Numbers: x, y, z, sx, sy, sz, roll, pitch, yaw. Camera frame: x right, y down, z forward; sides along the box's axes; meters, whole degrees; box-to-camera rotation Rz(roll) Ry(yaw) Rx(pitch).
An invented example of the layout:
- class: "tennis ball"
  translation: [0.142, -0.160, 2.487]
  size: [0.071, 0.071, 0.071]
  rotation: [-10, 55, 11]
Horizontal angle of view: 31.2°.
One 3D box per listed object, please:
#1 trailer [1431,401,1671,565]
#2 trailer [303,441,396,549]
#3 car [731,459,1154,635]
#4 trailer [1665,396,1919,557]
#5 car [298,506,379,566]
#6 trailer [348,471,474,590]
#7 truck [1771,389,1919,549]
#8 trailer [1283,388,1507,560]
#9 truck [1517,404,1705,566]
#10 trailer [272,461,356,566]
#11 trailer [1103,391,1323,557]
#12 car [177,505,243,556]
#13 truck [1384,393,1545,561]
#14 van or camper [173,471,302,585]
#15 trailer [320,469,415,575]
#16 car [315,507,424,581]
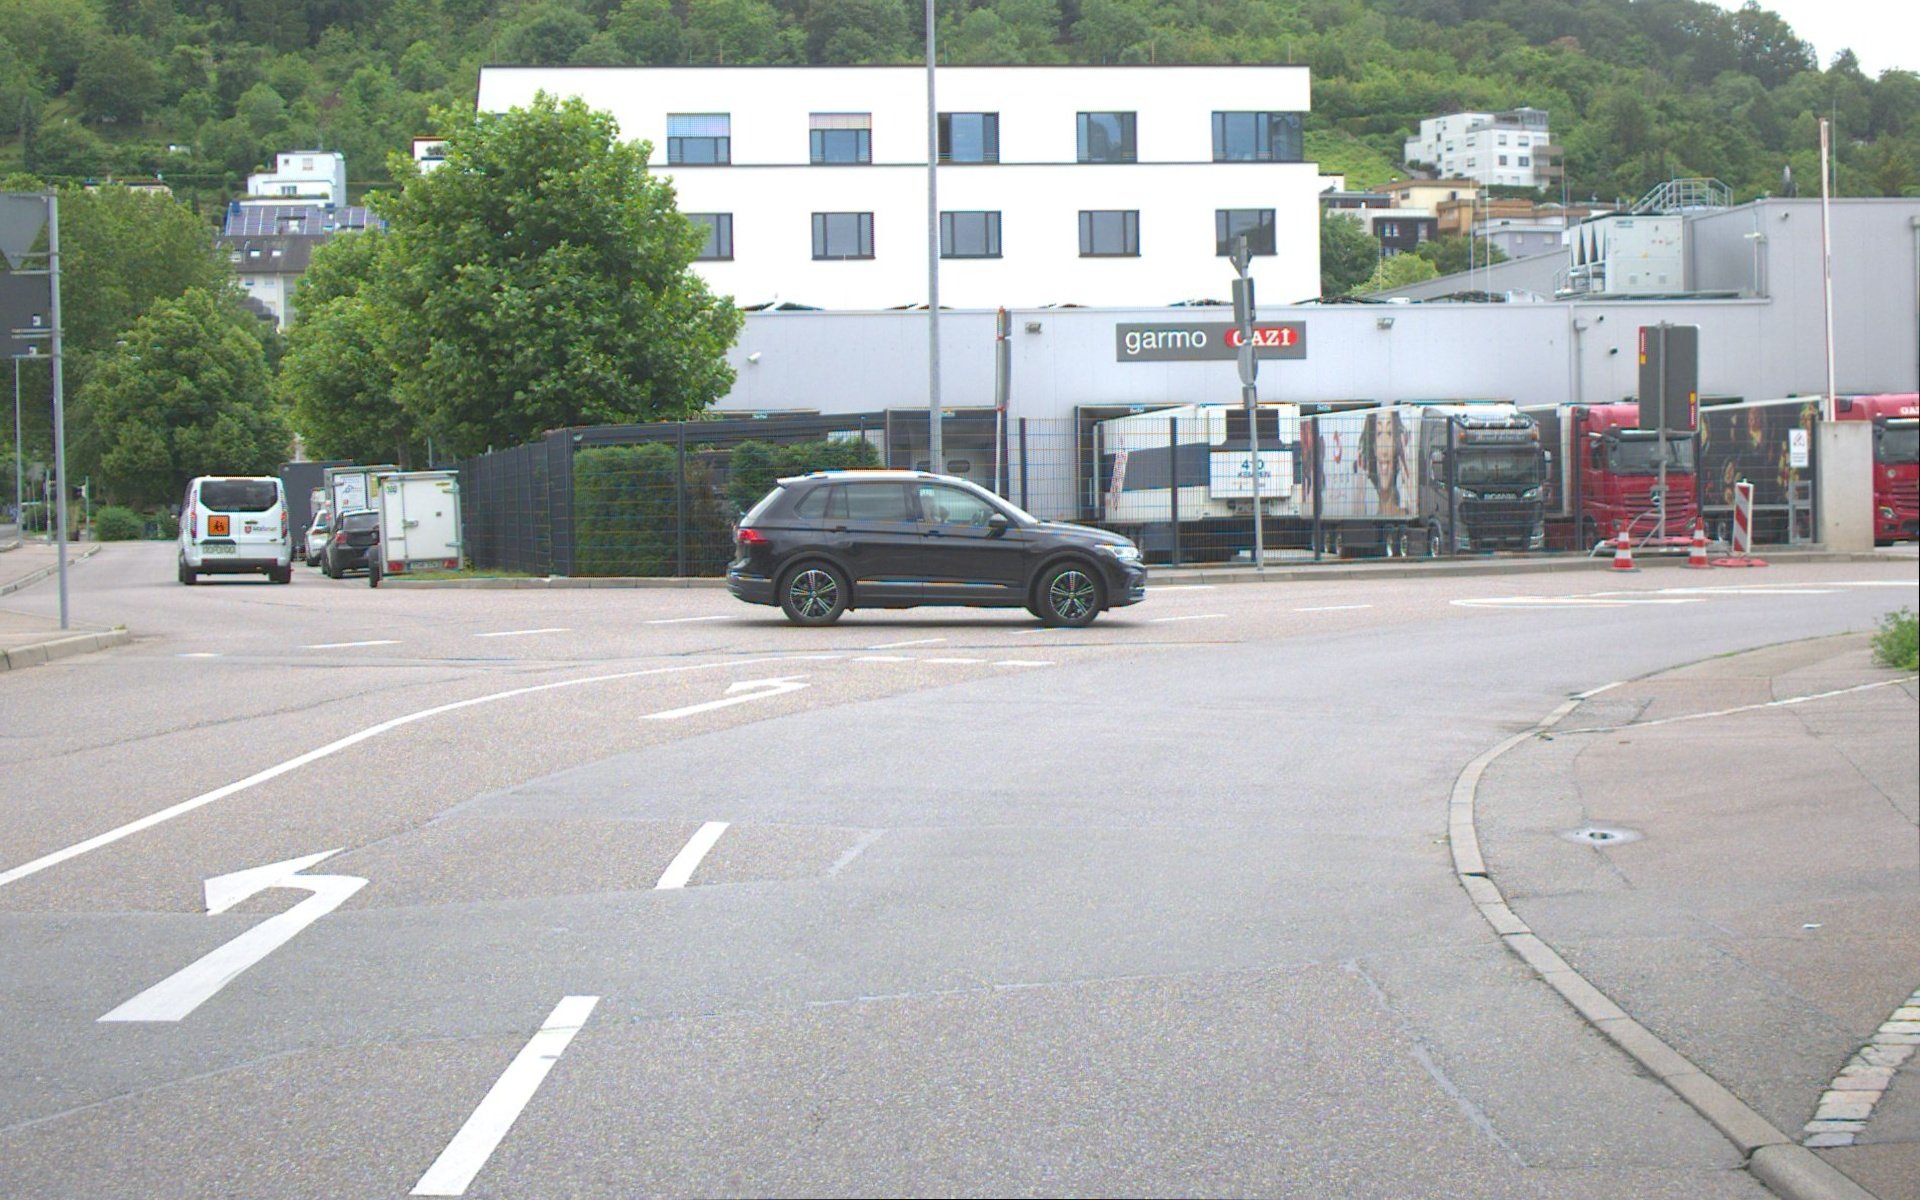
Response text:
- class: "trailer"
  translation: [15.476, -2.984, 91.045]
  size: [2.782, 4.064, 10.999]
  rotation: [-1, 1, -9]
- class: "trailer"
  translation: [-21.624, -3.712, 121.671]
  size: [3.067, 3.746, 4.935]
  rotation: [-1, 1, -12]
- class: "car"
  translation: [-0.222, -0.561, 36.808]
  size: [4.356, 1.678, 2.000]
  rotation: [2, 0, -2]
- class: "trailer"
  translation: [22.345, -3.205, 92.700]
  size: [2.782, 4.064, 10.999]
  rotation: [-1, 1, -9]
- class: "car"
  translation: [-16.046, -1.672, 88.772]
  size: [1.993, 1.503, 4.001]
  rotation: [0, 2, -10]
- class: "trailer"
  translation: [-9.679, -1.240, 60.402]
  size: [1.993, 2.007, 4.001]
  rotation: [-1, 1, -12]
- class: "truck"
  translation: [23.100, -3.262, 87.416]
  size: [2.792, 3.915, 5.927]
  rotation: [-1, 1, -9]
- class: "trailer"
  translation: [11.372, -3.216, 91.208]
  size: [2.782, 4.286, 11.185]
  rotation: [-1, 1, -9]
- class: "truck"
  translation: [16.277, -2.828, 86.332]
  size: [2.792, 3.915, 5.927]
  rotation: [-1, 1, -9]
- class: "trailer"
  translation: [-18.694, -2.505, 99.403]
  size: [2.278, 2.943, 4.001]
  rotation: [-1, 1, -12]
- class: "trailer"
  translation: [6.436, -3.157, 89.756]
  size: [3.080, 4.064, 11.413]
  rotation: [-1, 1, -9]
- class: "car"
  translation: [-25.832, -2.365, 118.518]
  size: [1.993, 1.678, 4.001]
  rotation: [-1, 1, -9]
- class: "truck"
  translation: [12.415, -2.998, 84.828]
  size: [2.792, 4.026, 4.166]
  rotation: [-1, 1, -9]
- class: "van or camper"
  translation: [-13.761, -1.345, 65.298]
  size: [2.098, 2.076, 4.206]
  rotation: [-1, 1, -16]
- class: "trailer"
  translation: [-13.455, -1.778, 77.931]
  size: [1.993, 2.335, 4.001]
  rotation: [-1, 1, -12]
- class: "car"
  translation: [-12.479, -1.208, 72.448]
  size: [1.993, 1.503, 4.183]
  rotation: [-1, 2, -13]
